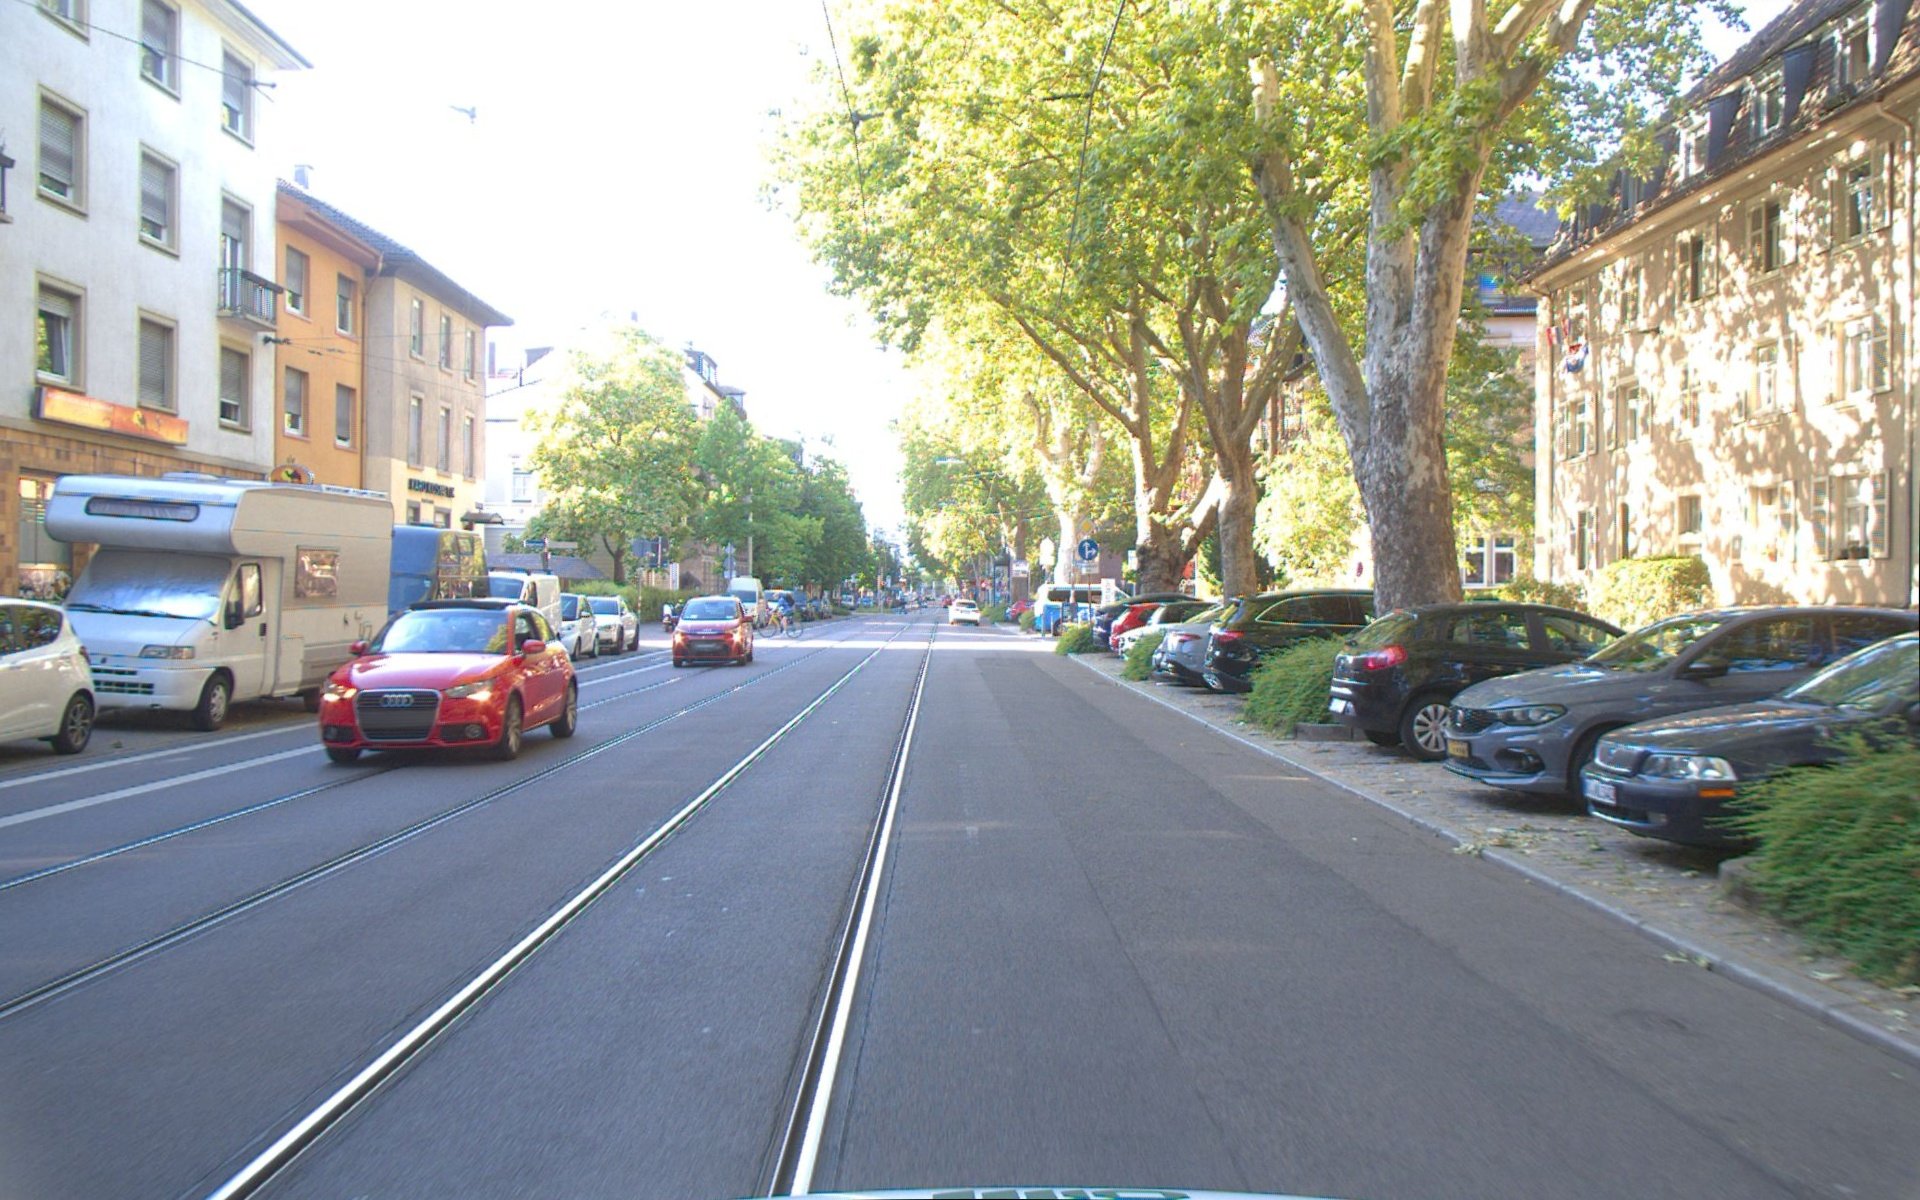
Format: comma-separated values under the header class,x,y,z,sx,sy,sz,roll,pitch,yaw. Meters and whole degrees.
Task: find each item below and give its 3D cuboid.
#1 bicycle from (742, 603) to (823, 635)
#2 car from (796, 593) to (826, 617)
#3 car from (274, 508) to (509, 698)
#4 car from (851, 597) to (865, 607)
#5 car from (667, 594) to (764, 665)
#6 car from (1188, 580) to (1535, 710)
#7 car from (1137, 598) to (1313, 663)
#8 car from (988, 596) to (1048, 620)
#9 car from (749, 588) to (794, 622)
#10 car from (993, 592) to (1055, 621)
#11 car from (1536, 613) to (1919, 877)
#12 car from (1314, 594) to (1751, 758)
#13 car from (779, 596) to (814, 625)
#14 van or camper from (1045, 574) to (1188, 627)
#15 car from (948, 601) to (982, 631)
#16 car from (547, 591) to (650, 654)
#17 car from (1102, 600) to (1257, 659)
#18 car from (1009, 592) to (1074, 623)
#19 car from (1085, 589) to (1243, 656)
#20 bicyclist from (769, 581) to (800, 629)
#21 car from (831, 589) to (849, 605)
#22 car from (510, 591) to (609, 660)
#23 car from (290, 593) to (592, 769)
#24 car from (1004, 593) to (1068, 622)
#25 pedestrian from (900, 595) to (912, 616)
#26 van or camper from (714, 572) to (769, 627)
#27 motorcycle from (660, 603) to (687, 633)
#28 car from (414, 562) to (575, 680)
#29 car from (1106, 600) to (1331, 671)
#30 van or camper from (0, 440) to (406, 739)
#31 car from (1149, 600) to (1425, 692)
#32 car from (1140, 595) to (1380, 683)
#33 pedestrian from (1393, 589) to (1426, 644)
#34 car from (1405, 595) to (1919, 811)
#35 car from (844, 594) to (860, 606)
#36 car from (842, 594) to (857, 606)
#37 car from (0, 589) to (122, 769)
class,x,y,z,sx,sy,sz,roll,pitch,yaw
bicycle,-6.492,0.697,60.431,2.894,1.124,1.049,0,0,-10
car,-11.325,0.393,125.922,1.953,1.775,4.658,0,0,-1
car,-9.414,0.030,27.943,2.044,2.779,5.309,3,0,-1
car,-14.110,0.256,228.586,1.880,1.443,3.588,0,0,-3
car,-5.434,0.619,37.137,1.629,1.505,3.950,-1,0,-1
car,5.519,0.610,23.203,4.402,1.630,2.028,-2,0,3
car,6.132,0.686,38.535,3.803,1.460,1.753,0,0,-1
car,3.806,0.520,109.545,3.905,1.547,2.000,0,0,-1
car,-10.849,0.282,95.590,2.129,1.893,4.658,0,0,-1
car,4.139,0.405,107.244,3.905,1.816,2.000,0,0,-1
car,5.857,0.800,9.786,4.304,1.404,1.805,0,0,3
car,5.589,0.716,16.466,3.760,1.536,1.710,0,0,-1
car,-10.875,0.673,110.003,1.953,1.893,4.178,0,0,-1
van or camper,6.316,0.004,67.049,5.447,2.048,2.243,0,3,-5
car,0.272,0.897,95.295,1.879,1.612,3.790,-1,0,-1
car,-9.665,0.564,44.537,1.799,1.494,5.067,3,0,-3
car,5.393,0.721,40.939,3.575,1.402,1.889,0,0,0
car,5.003,0.453,101.709,3.905,1.816,2.000,0,0,-1
car,5.283,0.574,43.161,3.845,1.699,1.960,0,0,-3
bicyclist,-6.416,0.184,60.454,1.027,1.735,1.055,0,0,-10
car,-12.623,-0.309,174.182,1.880,1.444,3.717,0,-5,-3
car,-9.656,0.588,40.063,1.539,1.553,3.041,2,0,1
car,-4.868,0.678,16.110,1.688,1.462,4.068,-1,0,-1
car,4.761,0.452,103.989,3.905,1.816,2.000,0,0,-1
pedestrian,-5.335,0.560,163.491,1.026,2.049,1.082,0,0,2
van or camper,-10.639,-0.029,80.918,2.037,2.577,5.317,0,0,-1
motorcycle,-11.691,0.726,67.556,0.748,1.126,2.330,1,2,-1
car,-9.444,0.354,34.000,1.913,2.127,5.246,3,1,-3
car,5.575,0.758,36.073,4.591,1.472,1.892,0,0,-1
van or camper,-9.356,-0.127,21.025,2.290,3.094,6.397,3,0,0
car,5.393,0.742,27.680,4.209,1.464,1.947,0,0,-2
car,5.406,0.691,30.143,4.057,1.535,1.796,0,0,0
pedestrian,12.103,0.435,44.578,0.648,1.480,0.821,0,0,-1
car,5.746,0.733,12.665,4.161,1.509,1.897,0,0,-1
car,-13.789,-0.024,210.743,1.881,1.443,3.586,-2,-1,-6
car,-13.796,-0.030,206.498,1.880,1.443,3.588,0,0,-3
car,-9.261,0.680,14.687,1.676,1.514,3.861,3,0,-2
